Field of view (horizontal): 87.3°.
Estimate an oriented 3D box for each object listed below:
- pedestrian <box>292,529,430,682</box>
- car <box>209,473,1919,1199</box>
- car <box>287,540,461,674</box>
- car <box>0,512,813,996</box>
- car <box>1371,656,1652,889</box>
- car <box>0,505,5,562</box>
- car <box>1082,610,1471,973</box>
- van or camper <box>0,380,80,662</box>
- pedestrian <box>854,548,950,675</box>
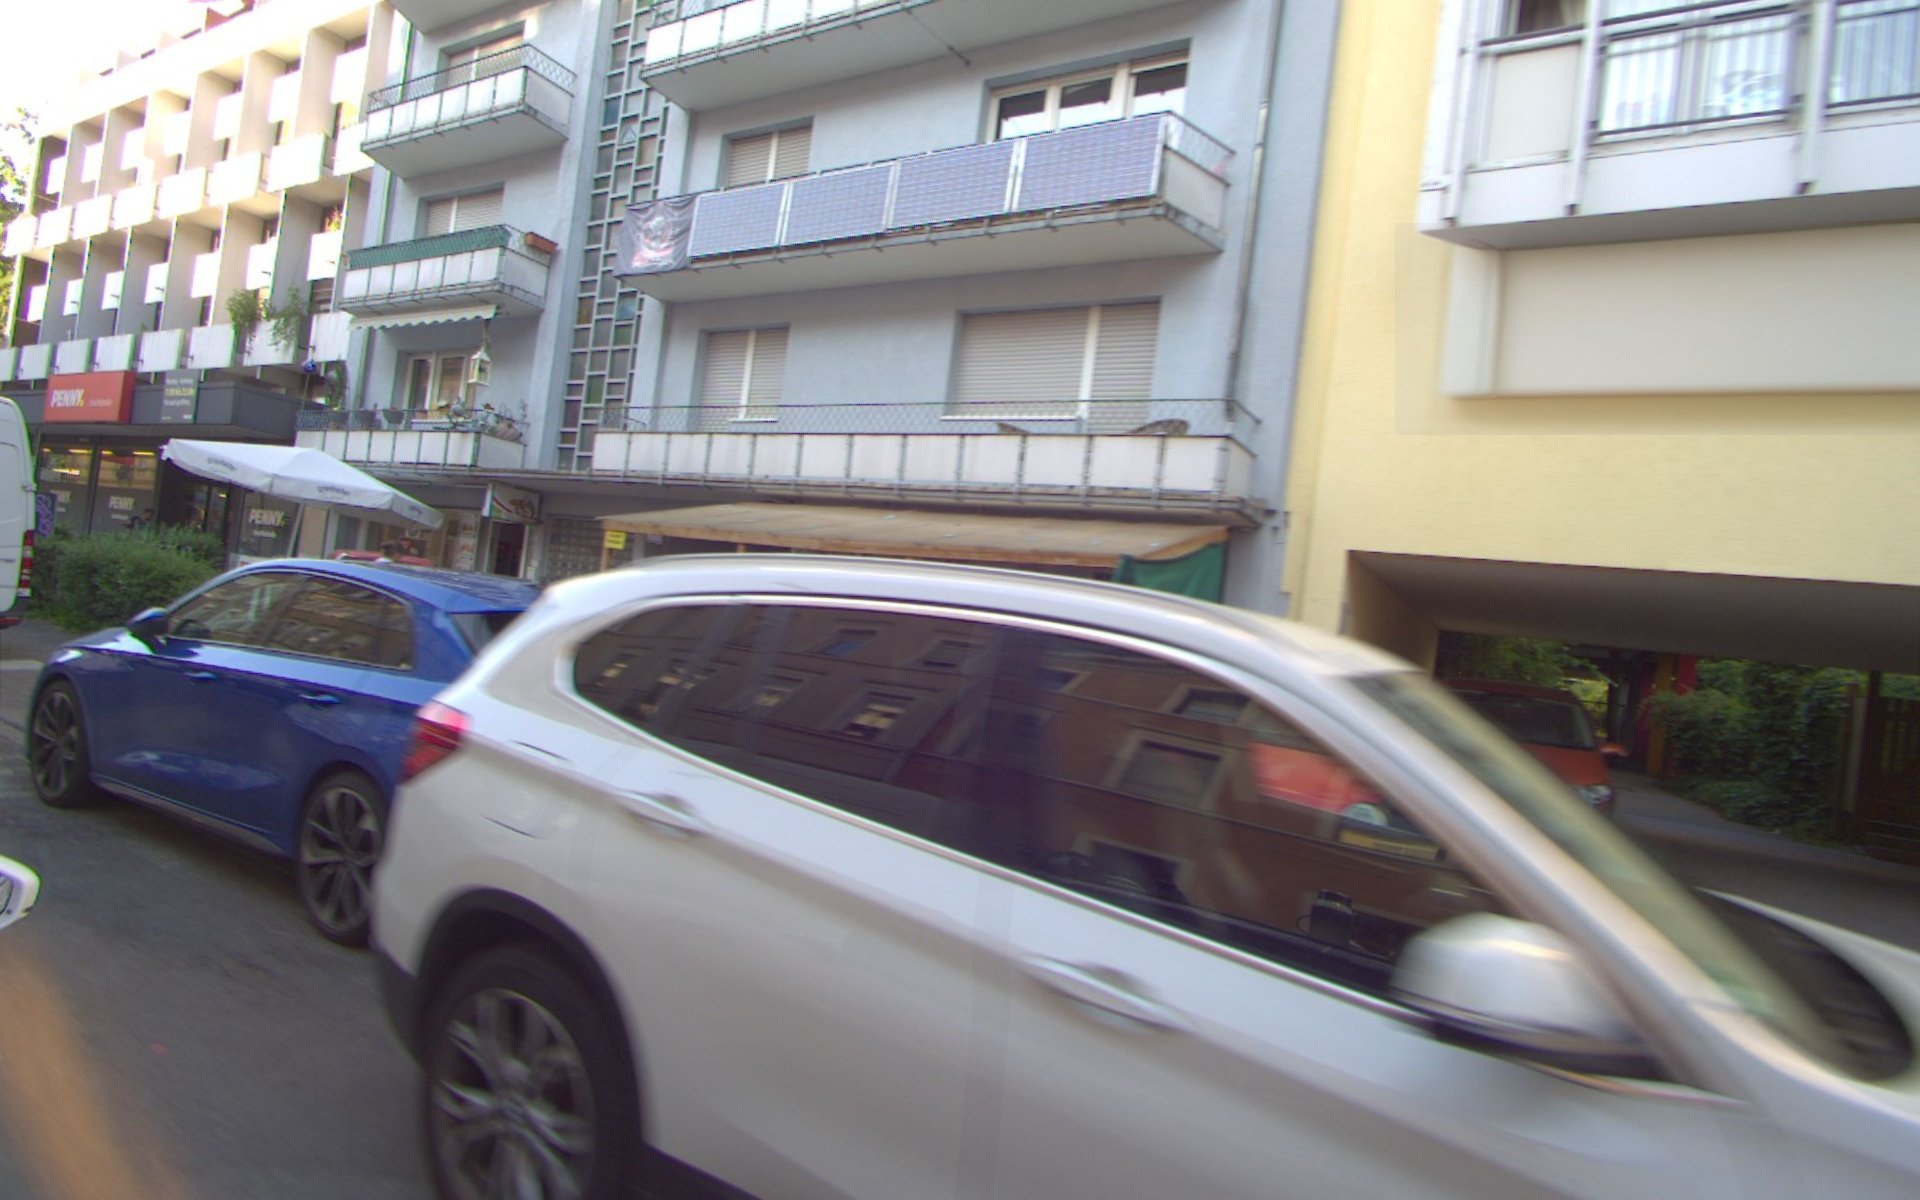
[{"bbox_3d":[-6.768,0.064,11.402,0.859,1.575,0.874,7,1,9],"label":"pedestrian"},{"bbox_3d":[0.582,0.784,2.210,4.510,1.630,1.727,6,-2,29],"label":"car"},{"bbox_3d":[-7.840,0.046,13.344,1.591,1.432,3.199,8,-2,-35],"label":"car"},{"bbox_3d":[-3.026,0.492,5.164,4.222,1.405,1.726,6,-1,30],"label":"car"},{"bbox_3d":[5.623,1.629,10.520,1.965,1.678,4.119,6,-2,27],"label":"car"},{"bbox_3d":[-22.946,-1.553,20.535,1.810,1.484,4.631,6,0,31],"label":"car"},{"bbox_3d":[2.471,1.187,7.054,1.666,1.624,3.908,6,-4,30],"label":"car"},{"bbox_3d":[-12.527,-1.129,10.839,7.385,2.633,2.104,6,-1,30],"label":"van or camper"},{"bbox_3d":[-0.861,0.180,15.127,0.939,1.720,0.848,7,-3,27],"label":"pedestrian"}]
